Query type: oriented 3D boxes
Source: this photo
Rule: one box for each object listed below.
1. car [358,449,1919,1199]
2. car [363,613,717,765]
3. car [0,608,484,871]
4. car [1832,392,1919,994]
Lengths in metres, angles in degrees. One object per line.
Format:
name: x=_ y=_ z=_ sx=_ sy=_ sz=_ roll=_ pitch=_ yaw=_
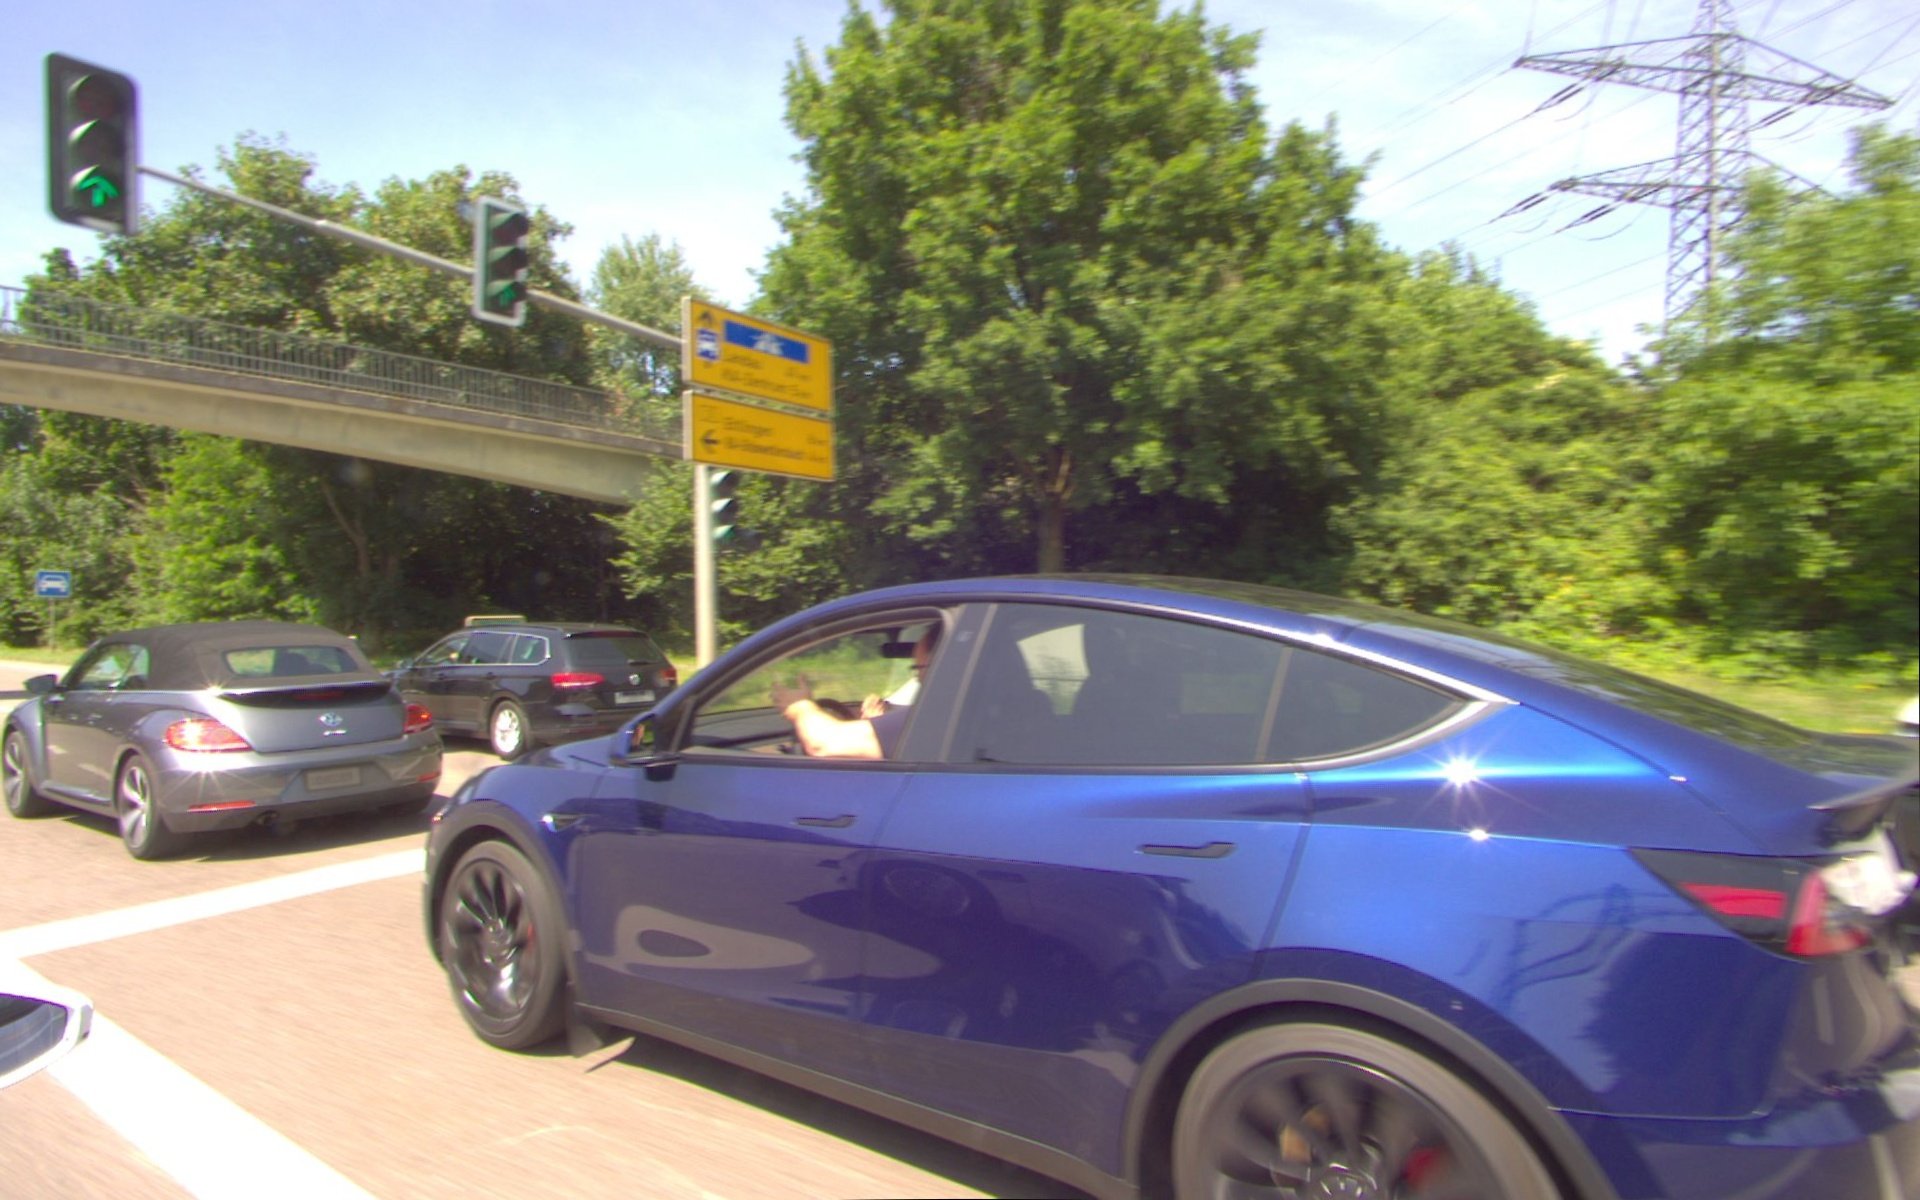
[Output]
car: x=0.068 y=0.662 z=3.354 sx=4.458 sy=1.666 sz=1.896 roll=0 pitch=-1 yaw=34
car: x=-5.068 y=0.914 z=11.883 sx=4.321 sy=1.497 sz=1.895 roll=0 pitch=-1 yaw=35
car: x=-5.577 y=0.828 z=7.610 sx=3.886 sy=1.497 sz=1.895 roll=0 pitch=-1 yaw=35
car: x=6.368 y=0.360 z=3.342 sx=5.006 sy=2.379 sz=1.927 roll=-1 pitch=-1 yaw=35
